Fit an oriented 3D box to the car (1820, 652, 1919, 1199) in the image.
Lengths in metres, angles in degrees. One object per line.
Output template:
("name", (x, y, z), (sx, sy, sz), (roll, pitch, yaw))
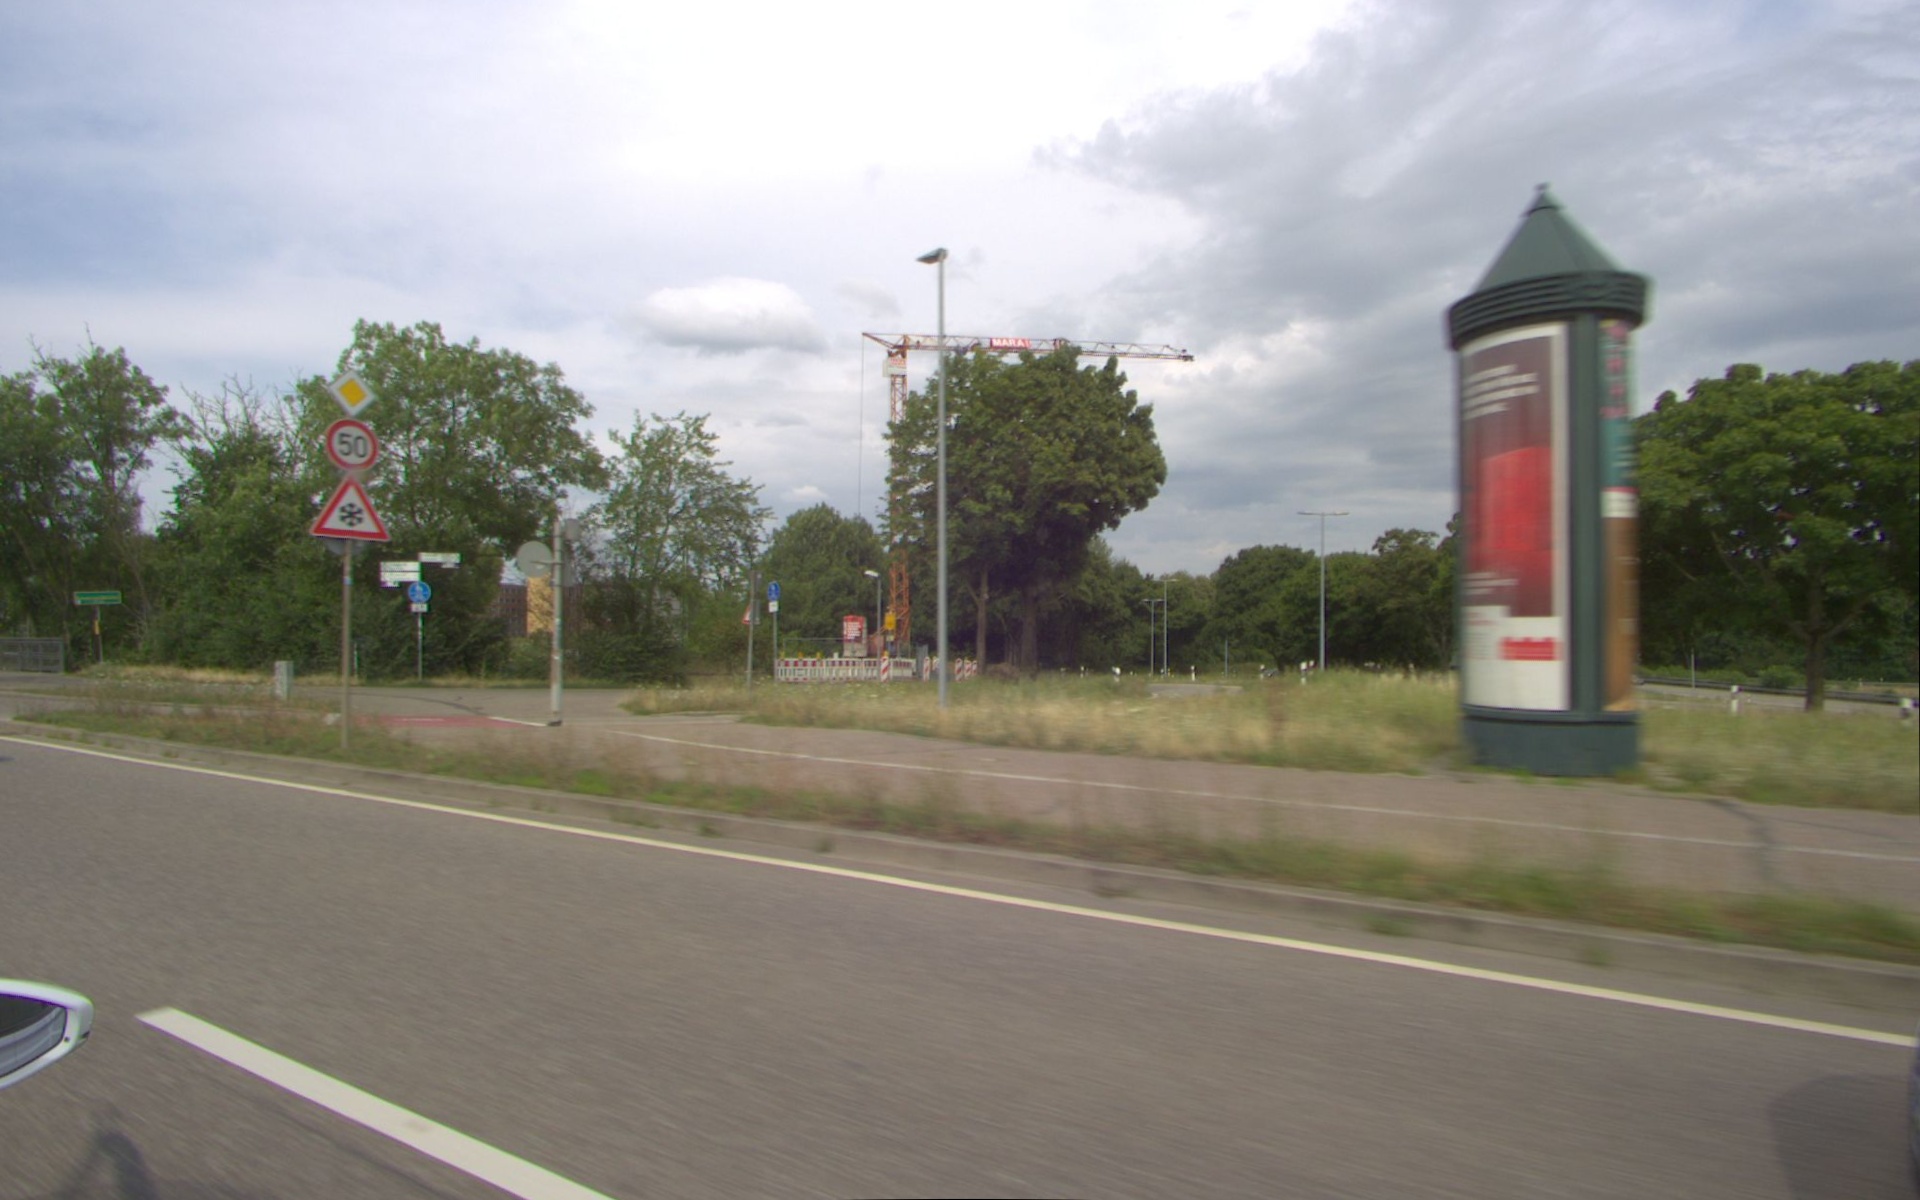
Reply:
("car", (3.781, 0.815, 1.082), (4.053, 1.413, 1.729), (0, -2, 30))
